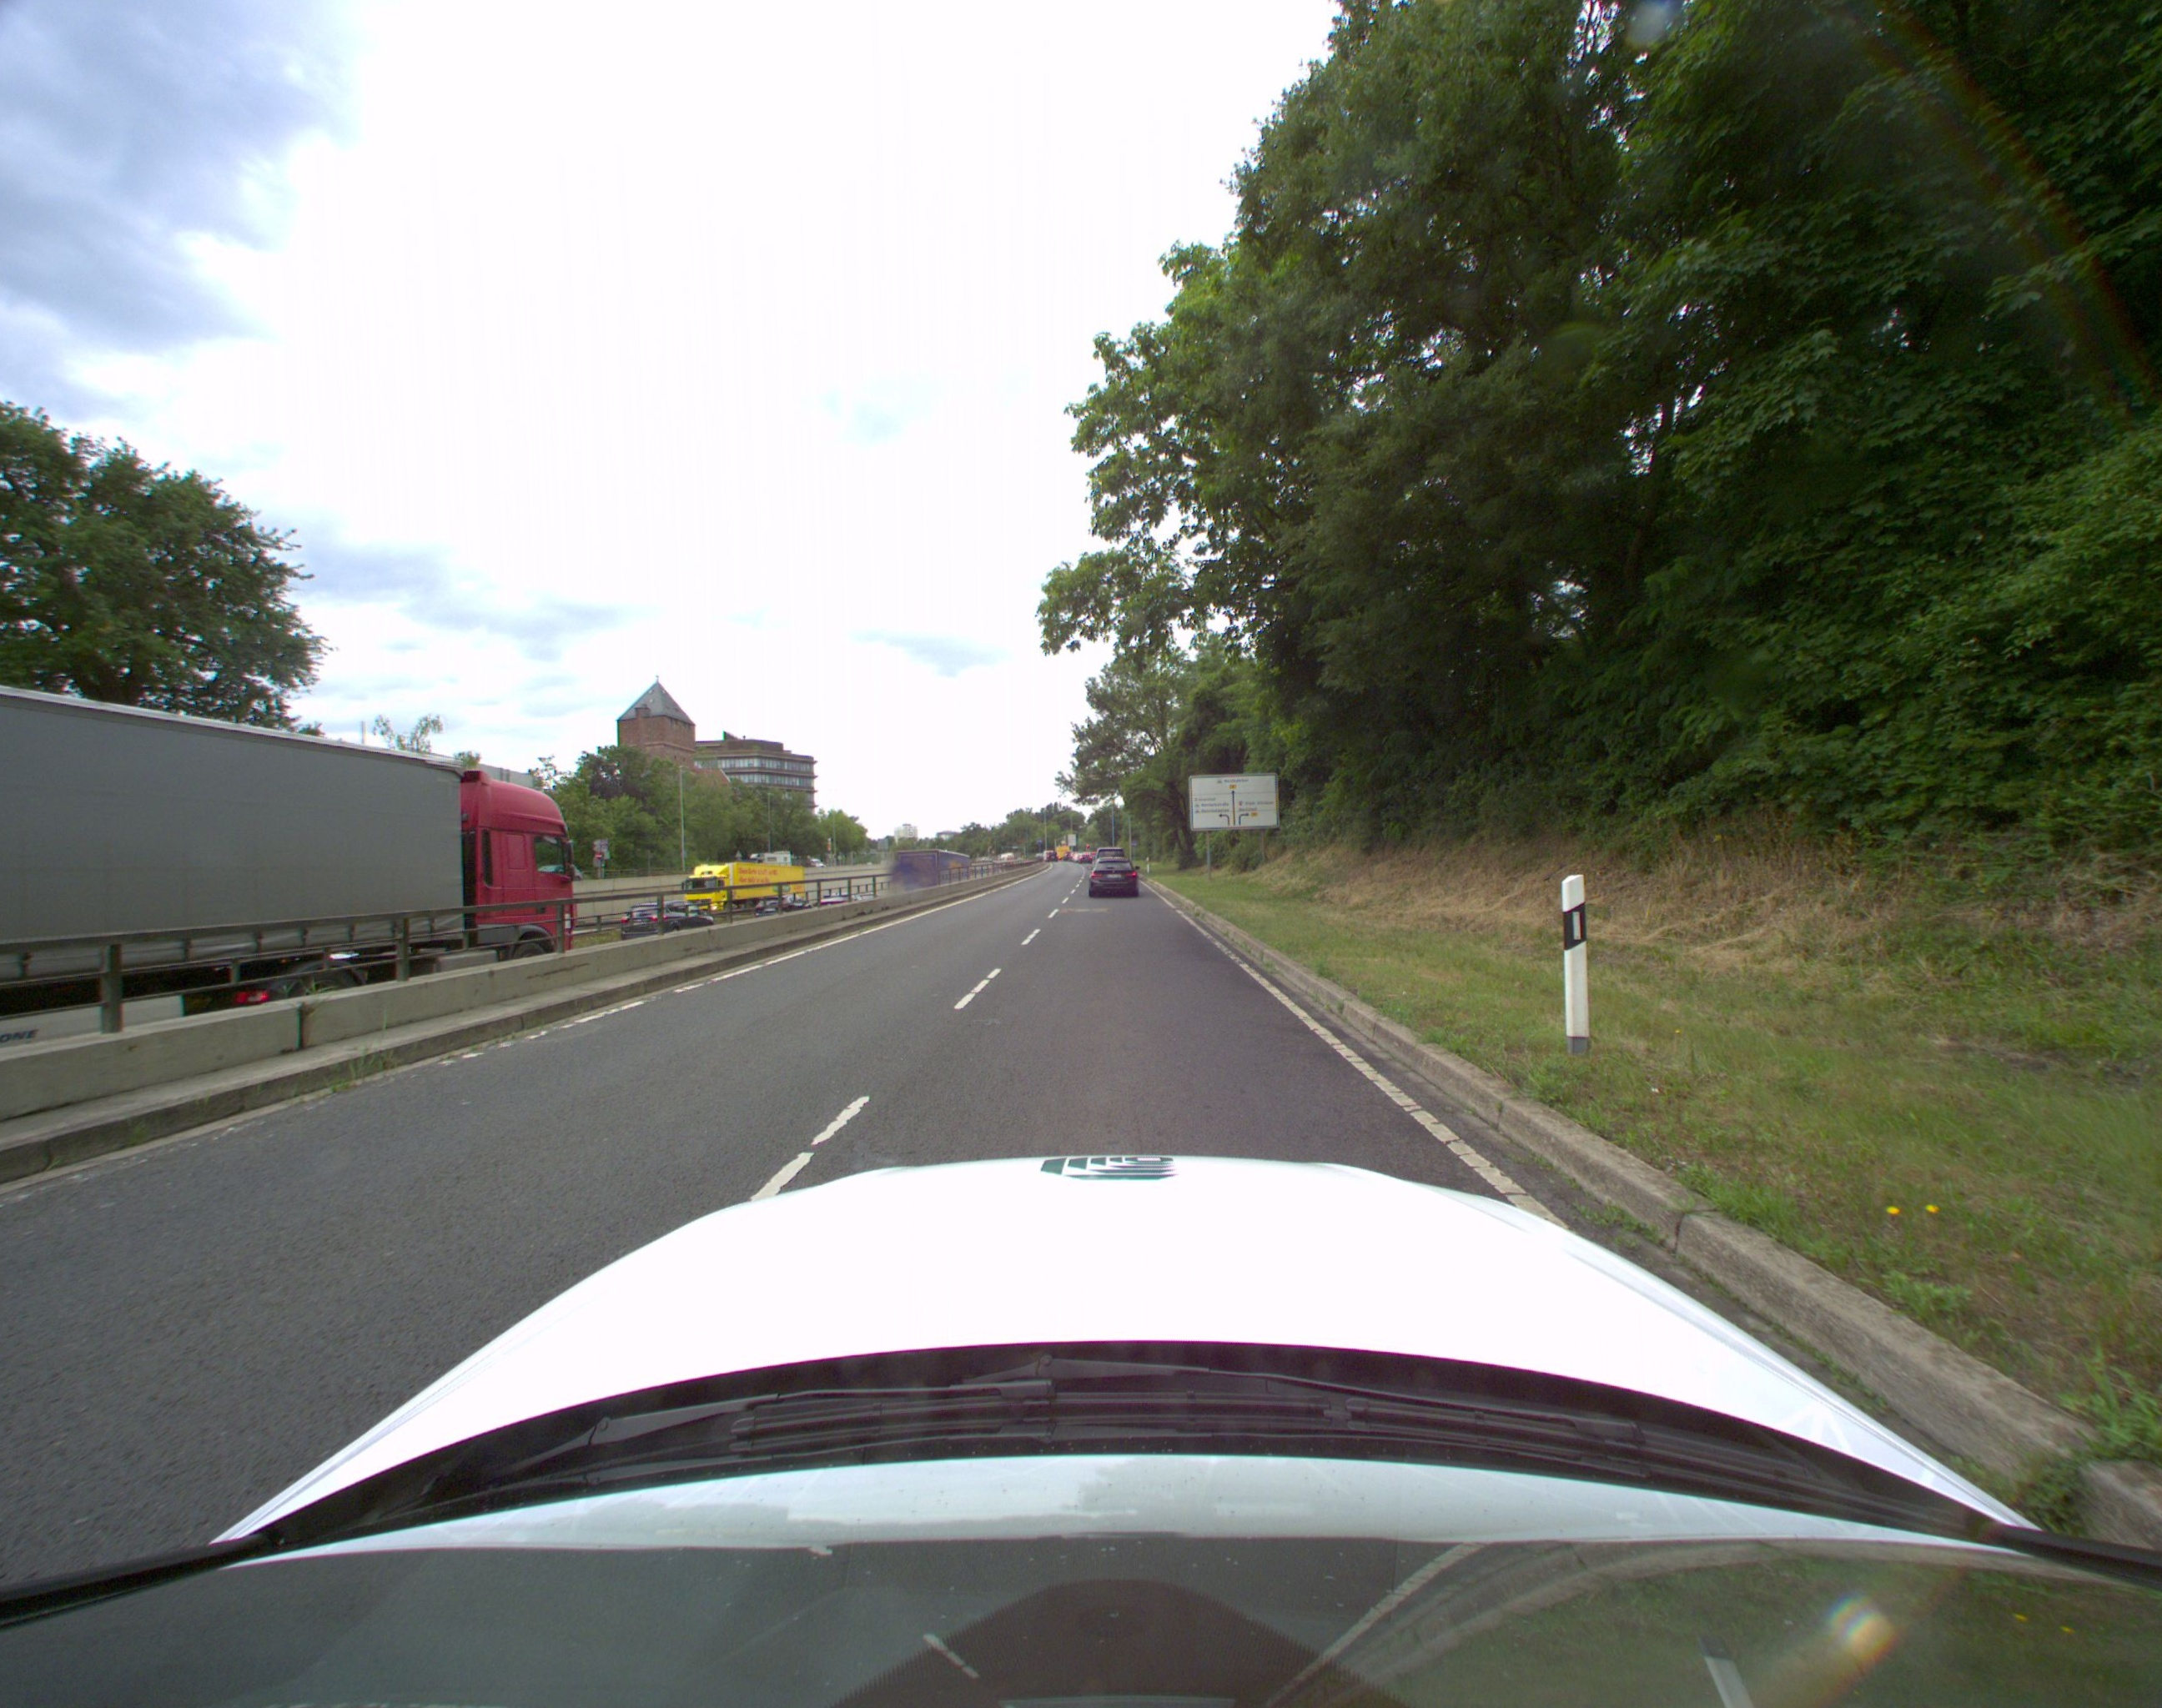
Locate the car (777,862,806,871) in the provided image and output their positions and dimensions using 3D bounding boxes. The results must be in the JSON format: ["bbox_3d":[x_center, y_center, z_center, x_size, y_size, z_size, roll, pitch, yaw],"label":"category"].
[{"bbox_3d":[-46.100,1.954,129.799,1.608,1.441,4.025,-1,-1,40],"label":"car"}]

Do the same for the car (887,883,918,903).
[{"bbox_3d":[-14.711,3.193,67.219,1.617,1.529,3.898,0,-1,2],"label":"car"}]

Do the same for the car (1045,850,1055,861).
[{"bbox_3d":[-6.006,0.350,156.489,1.881,1.987,4.423,0,-1,-4],"label":"car"}]

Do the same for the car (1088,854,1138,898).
[{"bbox_3d":[1.230,0.779,30.656,1.741,1.426,4.465,-1,1,3],"label":"car"}]

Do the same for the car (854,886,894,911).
[{"bbox_3d":[-14.170,3.003,55.875,1.617,1.529,3.898,0,-1,2],"label":"car"}]

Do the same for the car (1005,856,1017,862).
[{"bbox_3d":[-18.531,1.344,216.131,1.612,1.701,4.313,-1,-1,15],"label":"car"}]

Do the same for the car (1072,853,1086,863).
[{"bbox_3d":[-0.363,0.590,131.312,1.881,1.592,4.423,0,-1,-4],"label":"car"}]

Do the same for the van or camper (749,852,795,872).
[{"bbox_3d":[-45.373,1.138,119.663,5.958,2.810,2.120,0,-1,-44],"label":"van or camper"}]

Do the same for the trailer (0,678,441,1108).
[{"bbox_3d":[-11.538,0.383,5.381,2.641,4.037,14.560,-2,-1,2],"label":"trailer"}]

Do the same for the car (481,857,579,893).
[{"bbox_3d":[-24.661,0.904,36.623,1.617,1.511,3.898,0,-1,2],"label":"car"}]

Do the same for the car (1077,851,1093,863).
[{"bbox_3d":[0.556,0.468,117.004,1.881,1.592,4.423,0,-1,-4],"label":"car"}]

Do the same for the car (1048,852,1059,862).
[{"bbox_3d":[-5.071,0.567,148.514,1.621,1.701,4.287,0,-1,-6],"label":"car"}]

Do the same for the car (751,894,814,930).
[{"bbox_3d":[-14.977,2.888,41.031,1.617,1.529,3.898,0,-1,2],"label":"car"}]

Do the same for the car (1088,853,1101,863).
[{"bbox_3d":[2.371,0.721,145.603,1.881,1.880,4.423,0,-1,-4],"label":"car"}]

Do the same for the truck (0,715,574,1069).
[{"bbox_3d":[-11.292,0.473,12.654,2.695,4.037,6.205,-2,-1,2],"label":"truck"}]

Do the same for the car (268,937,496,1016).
[{"bbox_3d":[-15.392,2.649,18.253,1.649,1.213,3.899,0,0,2],"label":"car"}]

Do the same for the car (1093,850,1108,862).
[{"bbox_3d":[3.051,0.263,129.566,1.881,1.880,4.423,0,-1,-4],"label":"car"}]

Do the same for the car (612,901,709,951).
[{"bbox_3d":[-15.392,2.583,30.023,1.651,1.529,3.894,0,-1,-2],"label":"car"}]

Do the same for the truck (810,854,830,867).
[{"bbox_3d":[-59.092,1.456,184.227,2.033,2.987,7.016,0,-1,-39],"label":"truck"}]

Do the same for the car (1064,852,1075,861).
[{"bbox_3d":[-2.195,0.441,153.426,1.881,1.700,4.423,0,-1,-4],"label":"car"}]

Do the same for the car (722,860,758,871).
[{"bbox_3d":[-45.127,1.500,107.866,1.608,1.441,4.025,-1,-1,40],"label":"car"}]

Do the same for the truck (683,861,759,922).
[{"bbox_3d":[-25.576,2.584,58.179,2.515,4.037,6.098,-2,-1,1],"label":"truck"}]

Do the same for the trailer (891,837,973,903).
[{"bbox_3d":[-10.427,1.097,59.293,2.842,4.037,16.002,-2,-1,0],"label":"trailer"}]

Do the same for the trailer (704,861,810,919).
[{"bbox_3d":[-25.406,2.641,64.975,2.515,4.037,13.780,-2,-1,1],"label":"trailer"}]

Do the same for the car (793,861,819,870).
[{"bbox_3d":[-46.555,1.926,137.887,1.608,1.441,4.025,-1,-1,40],"label":"car"}]

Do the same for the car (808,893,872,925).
[{"bbox_3d":[-10.797,2.446,36.746,1.649,1.213,3.897,0,0,1],"label":"car"}]

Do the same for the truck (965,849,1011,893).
[{"bbox_3d":[-9.495,1.713,85.145,2.841,4.037,15.575,-2,-1,0],"label":"truck"}]

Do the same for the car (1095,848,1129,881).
[{"bbox_3d":[1.821,0.602,48.374,1.892,1.884,4.417,0,-1,2],"label":"car"}]
